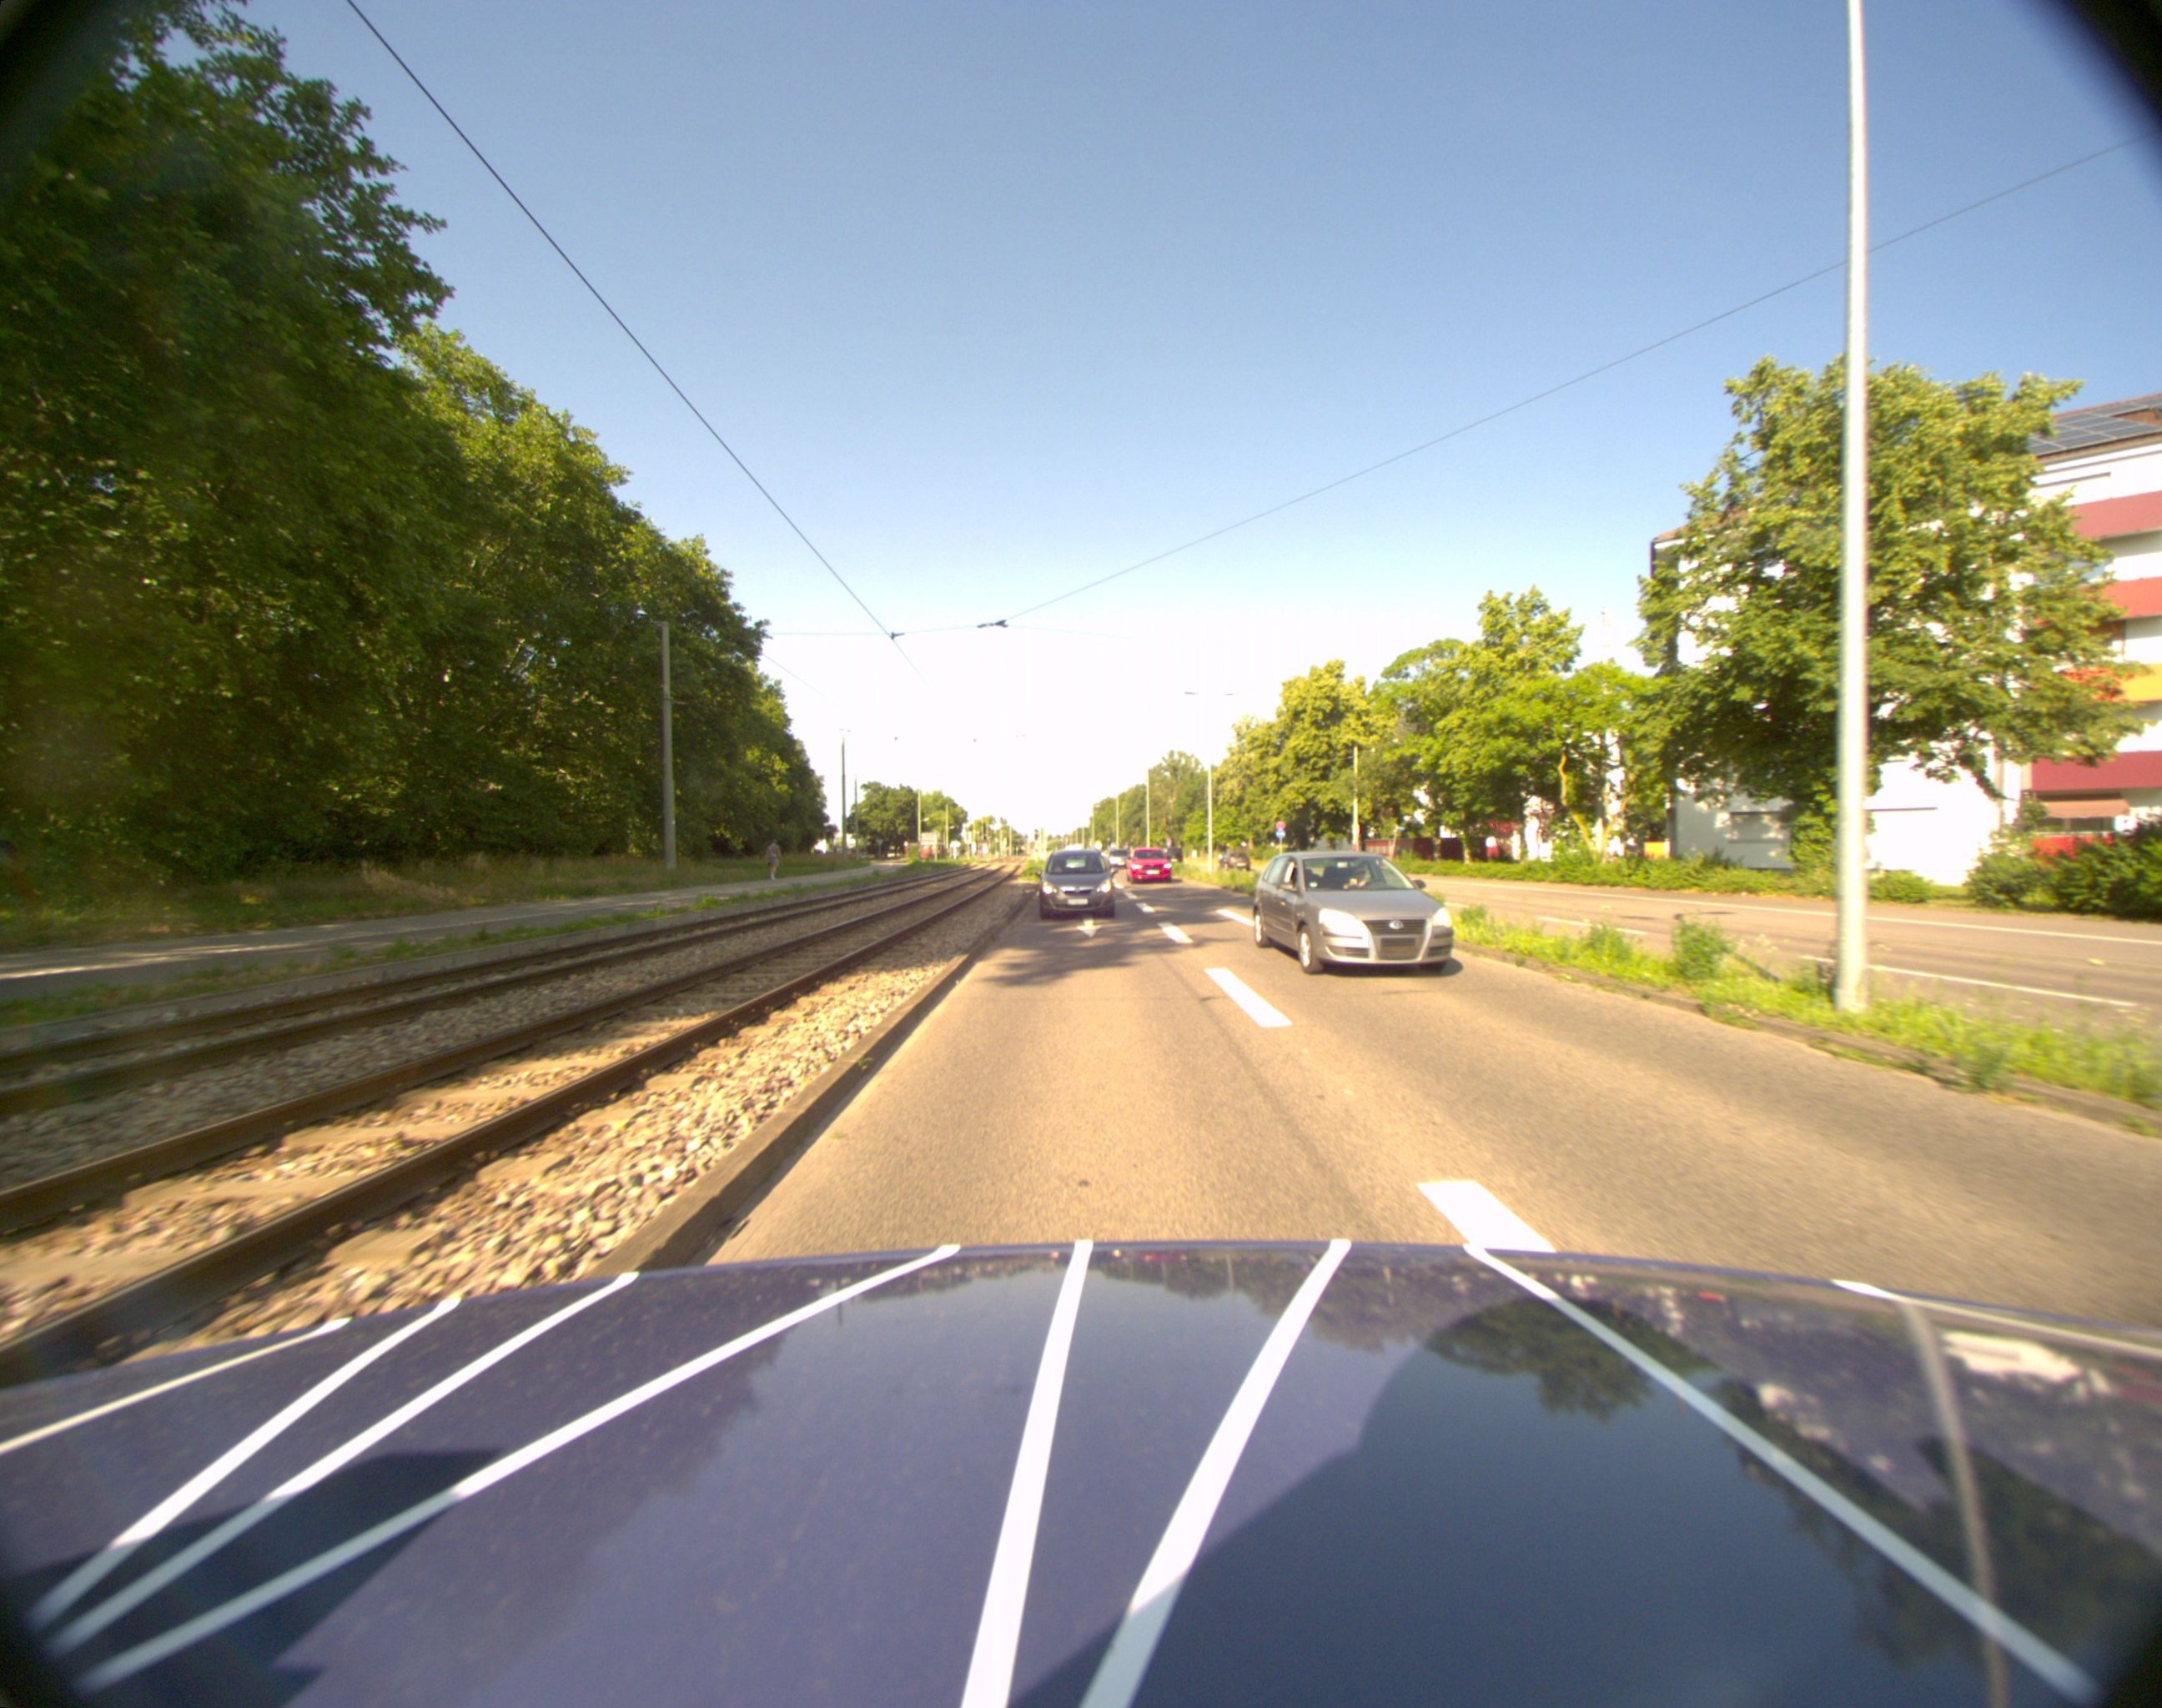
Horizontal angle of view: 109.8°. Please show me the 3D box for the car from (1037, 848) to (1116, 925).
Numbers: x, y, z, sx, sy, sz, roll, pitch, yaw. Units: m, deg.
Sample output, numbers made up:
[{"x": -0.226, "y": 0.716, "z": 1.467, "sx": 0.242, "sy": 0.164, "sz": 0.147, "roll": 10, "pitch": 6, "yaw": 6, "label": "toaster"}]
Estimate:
[{"x": -0.120, "y": 0.686, "z": 18.439, "sx": 1.650, "sy": 1.582, "sz": 3.832, "roll": -3, "pitch": 1, "yaw": -1, "label": "car"}]

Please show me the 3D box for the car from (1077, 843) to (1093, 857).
[{"x": 0.512, "y": -0.493, "z": 95.259, "sx": 1.774, "sy": 1.669, "sz": 4.047, "roll": 0, "pitch": 1, "yaw": -2, "label": "car"}]

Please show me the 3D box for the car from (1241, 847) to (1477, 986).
[{"x": 3.394, "y": 0.657, "z": 10.076, "sx": 1.692, "sy": 1.420, "sz": 3.832, "roll": -2, "pitch": 1, "yaw": 0, "label": "car"}]

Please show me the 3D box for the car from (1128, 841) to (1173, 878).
[{"x": 3.153, "y": 0.206, "z": 35.072, "sx": 1.692, "sy": 1.573, "sz": 3.832, "roll": -2, "pitch": 1, "yaw": 0, "label": "car"}]

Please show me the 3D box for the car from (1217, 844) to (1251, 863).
[{"x": 11.382, "y": -0.060, "z": 56.757, "sx": 1.728, "sy": 1.411, "sz": 4.325, "roll": 0, "pitch": 1, "yaw": 0, "label": "car"}]

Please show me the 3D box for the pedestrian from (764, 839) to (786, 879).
[{"x": -13.235, "y": 0.217, "z": 32.839, "sx": 0.501, "sy": 1.706, "sz": 0.885, "roll": 0, "pitch": 1, "yaw": 5, "label": "pedestrian"}]

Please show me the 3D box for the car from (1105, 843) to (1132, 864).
[{"x": 2.903, "y": -0.043, "z": 59.029, "sx": 1.710, "sy": 1.513, "sz": 3.831, "roll": -2, "pitch": 1, "yaw": -2, "label": "car"}]

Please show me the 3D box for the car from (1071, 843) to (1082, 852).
[{"x": -0.833, "y": -1.143, "z": 130.001, "sx": 1.710, "sy": 1.513, "sz": 3.831, "roll": -2, "pitch": 1, "yaw": -2, "label": "car"}]

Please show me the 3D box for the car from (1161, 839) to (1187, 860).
[{"x": 8.358, "y": -0.440, "z": 68.806, "sx": 1.795, "sy": 1.774, "sz": 4.479, "roll": 0, "pitch": 1, "yaw": 0, "label": "car"}]
